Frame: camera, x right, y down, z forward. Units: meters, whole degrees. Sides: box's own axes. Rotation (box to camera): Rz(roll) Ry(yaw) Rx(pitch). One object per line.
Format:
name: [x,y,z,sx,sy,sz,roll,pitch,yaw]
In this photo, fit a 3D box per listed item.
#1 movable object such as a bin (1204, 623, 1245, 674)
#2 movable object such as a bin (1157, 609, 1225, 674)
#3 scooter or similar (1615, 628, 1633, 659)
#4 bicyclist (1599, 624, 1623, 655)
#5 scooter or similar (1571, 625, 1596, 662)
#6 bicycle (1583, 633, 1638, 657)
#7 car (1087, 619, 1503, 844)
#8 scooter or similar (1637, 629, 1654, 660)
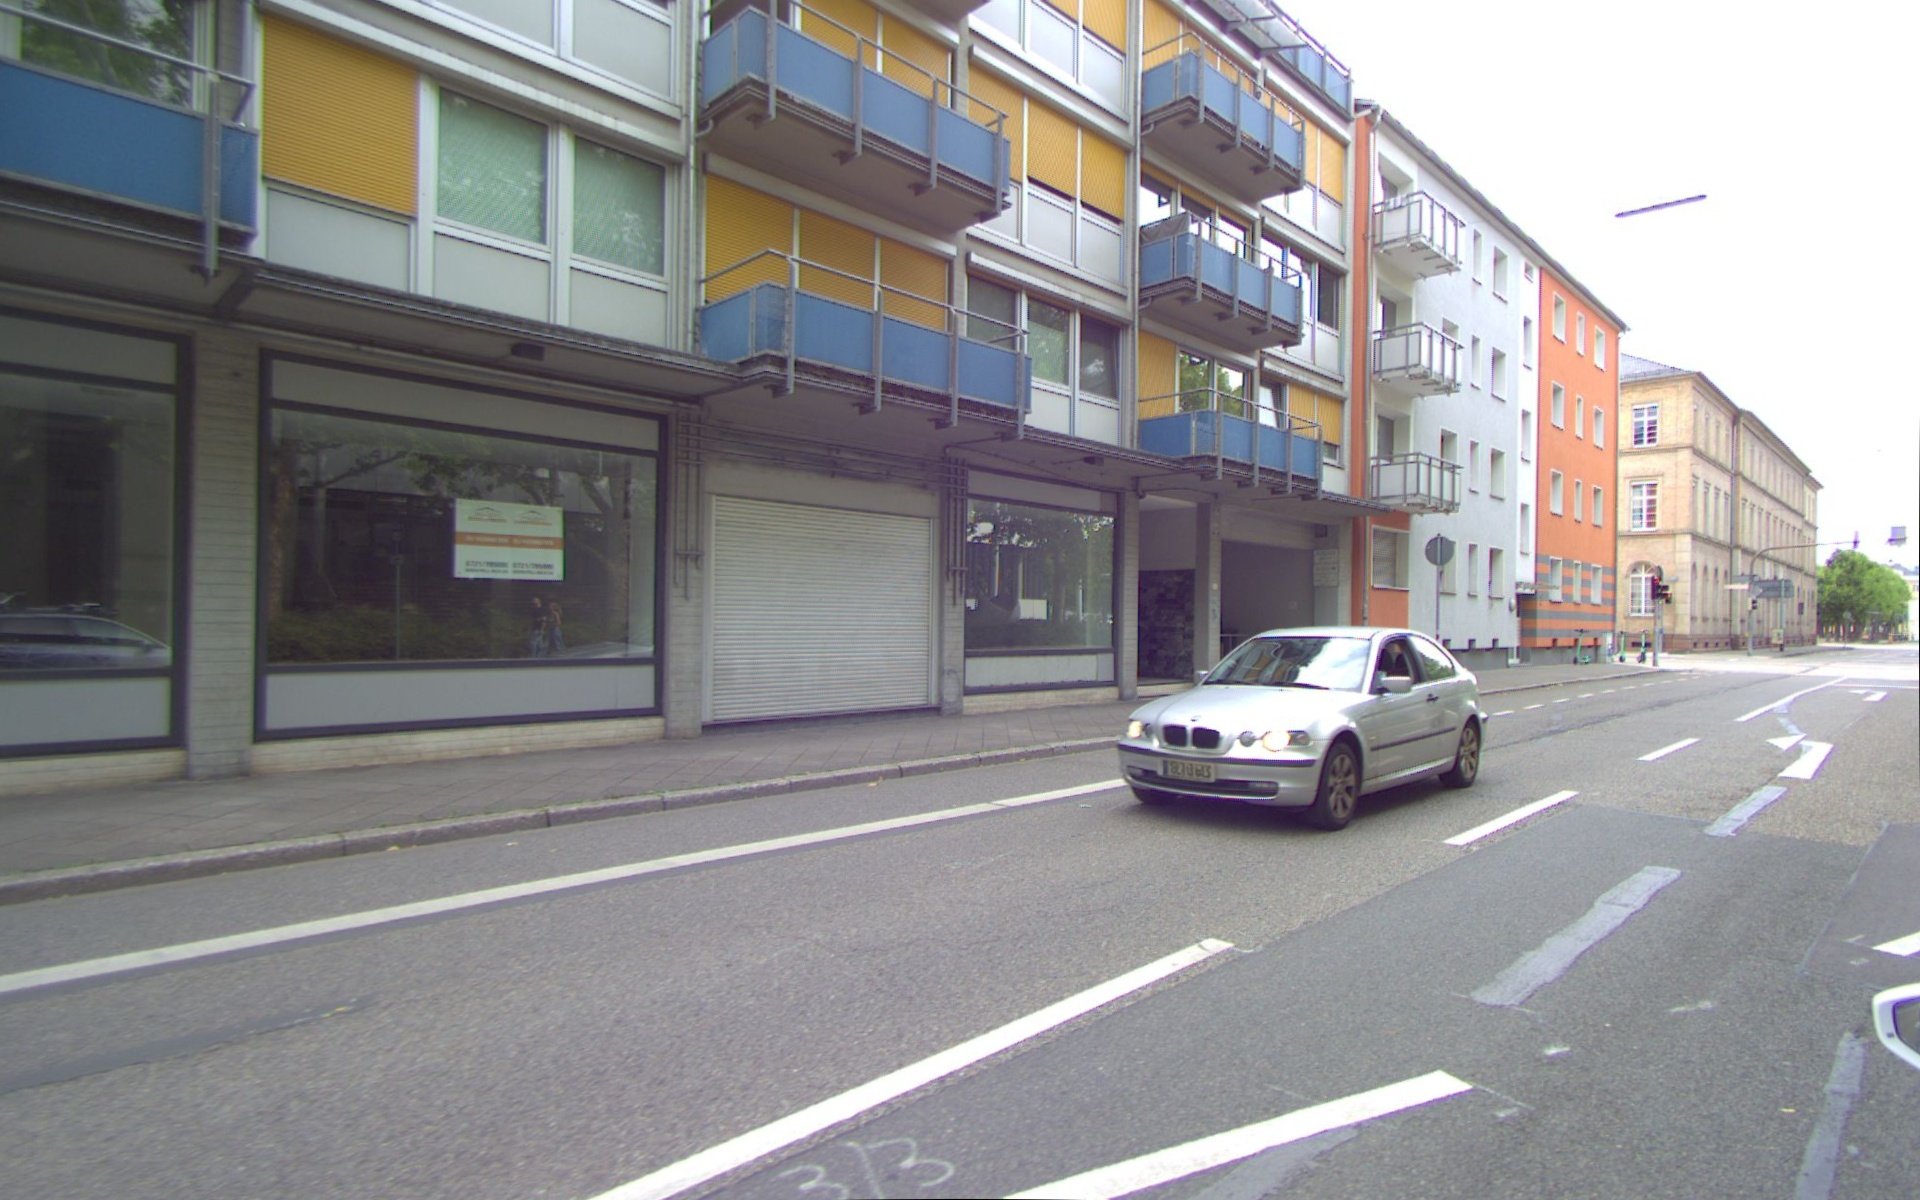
movable object such as a bin: [6.069,1.096,23.063,0.705,1.141,0.636,1,0,-43]
movable object such as a bin: [5.456,0.961,23.760,1.045,1.483,1.178,1,0,-43]
scooter or similar: [25.136,1.650,38.026,0.374,1.162,1.136,1,-2,42]
bicyclist: [31.914,1.925,49.245,0.904,1.513,0.623,0,-1,42]
scooter or similar: [20.848,1.463,33.575,1.381,1.199,0.374,3,-2,-44]
bicycle: [31.877,2.197,49.260,2.208,1.109,0.624,0,-1,42]
car: [3.017,0.903,8.543,1.739,1.446,4.073,-2,-2,45]
scooter or similar: [25.919,1.679,37.977,0.374,1.159,1.136,1,-2,42]
